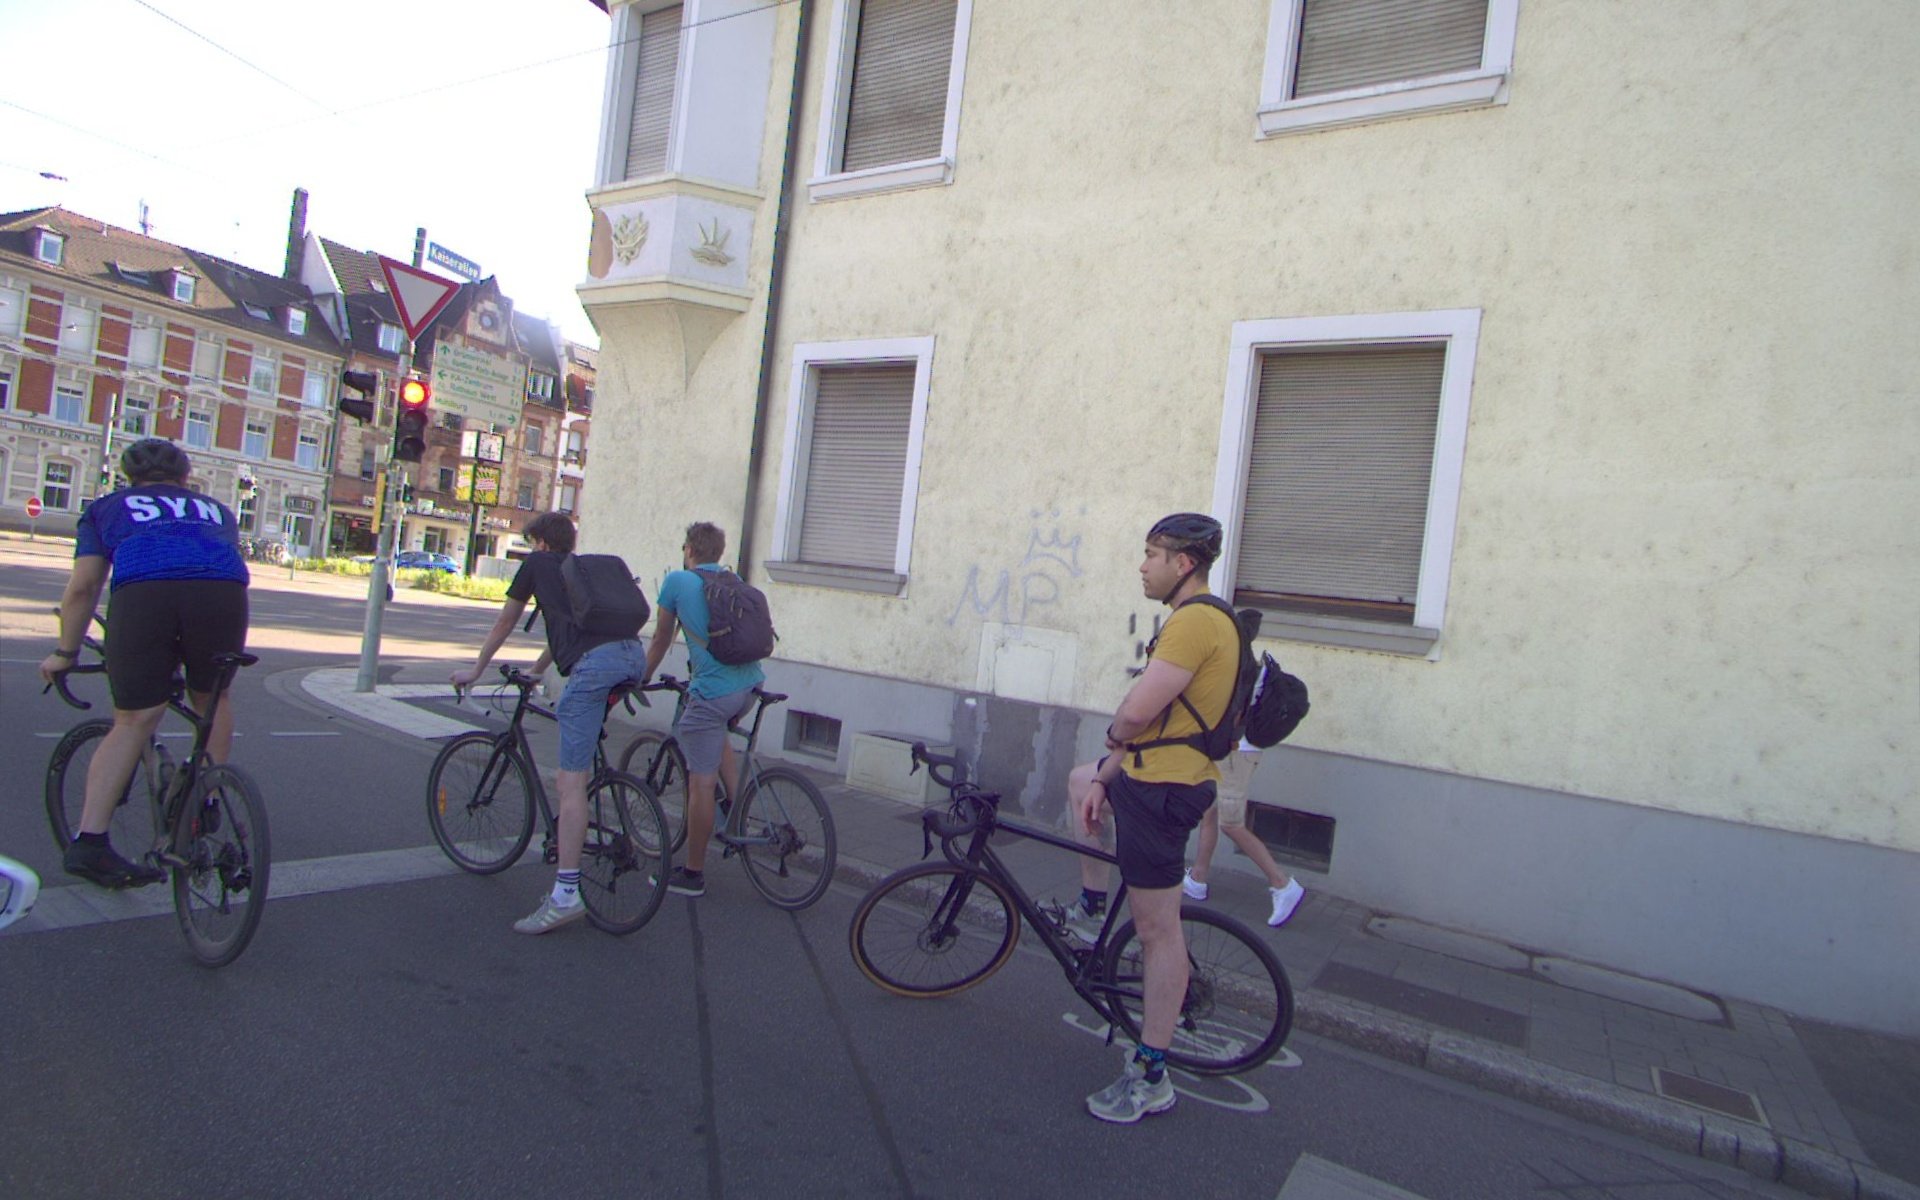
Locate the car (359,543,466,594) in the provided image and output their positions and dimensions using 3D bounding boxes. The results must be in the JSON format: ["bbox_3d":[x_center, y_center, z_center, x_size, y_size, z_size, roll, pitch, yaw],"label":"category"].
[{"bbox_3d":[-25.461,-1.441,46.909,1.967,1.798,3.790,6,-2,31],"label":"car"}]

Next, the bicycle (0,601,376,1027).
[{"bbox_3d":[-2.927,0.654,3.661,1.676,1.097,0.627,6,-1,35],"label":"bicycle"}]

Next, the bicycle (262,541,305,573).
[{"bbox_3d":[-32.677,-2.073,48.585,2.618,1.301,0.629,6,-1,33],"label":"bicycle"}]

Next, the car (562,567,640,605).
[{"bbox_3d":[-23.241,-0.876,65.288,1.967,1.798,4.374,6,-2,31],"label":"car"}]

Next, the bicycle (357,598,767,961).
[{"bbox_3d":[-1.851,0.728,4.634,1.674,1.251,0.756,6,-1,30],"label":"bicycle"}]

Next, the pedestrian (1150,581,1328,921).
[{"bbox_3d":[1.539,0.812,5.639,0.631,1.780,0.584,4,3,-7],"label":"pedestrian"}]

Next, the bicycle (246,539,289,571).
[{"bbox_3d":[-33.048,-2.142,47.995,2.618,1.301,0.629,6,-1,33],"label":"bicycle"}]

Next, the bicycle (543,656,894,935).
[{"bbox_3d":[-1.293,0.931,5.242,1.742,1.043,0.650,6,-1,33],"label":"bicycle"}]

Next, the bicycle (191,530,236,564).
[{"bbox_3d":[-34.191,-2.421,46.070,2.618,1.301,0.693,6,-1,33],"label":"bicycle"}]

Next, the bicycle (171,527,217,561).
[{"bbox_3d":[-34.597,-2.524,45.406,2.618,1.301,0.693,6,-1,33],"label":"bicycle"}]

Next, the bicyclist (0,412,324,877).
[{"bbox_3d":[-3.019,0.130,3.760,0.869,1.512,0.639,9,0,36],"label":"bicyclist"}]

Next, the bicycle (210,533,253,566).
[{"bbox_3d":[-33.823,-2.357,46.694,2.618,1.301,0.629,6,-1,33],"label":"bicycle"}]

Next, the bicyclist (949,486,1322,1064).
[{"bbox_3d":[0.639,0.527,3.534,0.869,1.682,0.807,6,-1,32],"label":"bicyclist"}]

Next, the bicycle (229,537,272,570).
[{"bbox_3d":[-33.414,-2.213,47.366,2.618,1.301,0.629,6,-1,33],"label":"bicycle"}]

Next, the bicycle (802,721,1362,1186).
[{"bbox_3d":[0.399,1.092,3.634,1.751,1.043,0.756,6,-2,33],"label":"bicycle"}]

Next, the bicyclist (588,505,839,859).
[{"bbox_3d":[-1.285,0.397,5.271,0.869,1.652,0.690,6,-1,34],"label":"bicyclist"}]

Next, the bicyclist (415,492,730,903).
[{"bbox_3d":[-1.754,0.406,4.613,0.868,1.625,0.807,7,-1,30],"label":"bicyclist"}]
